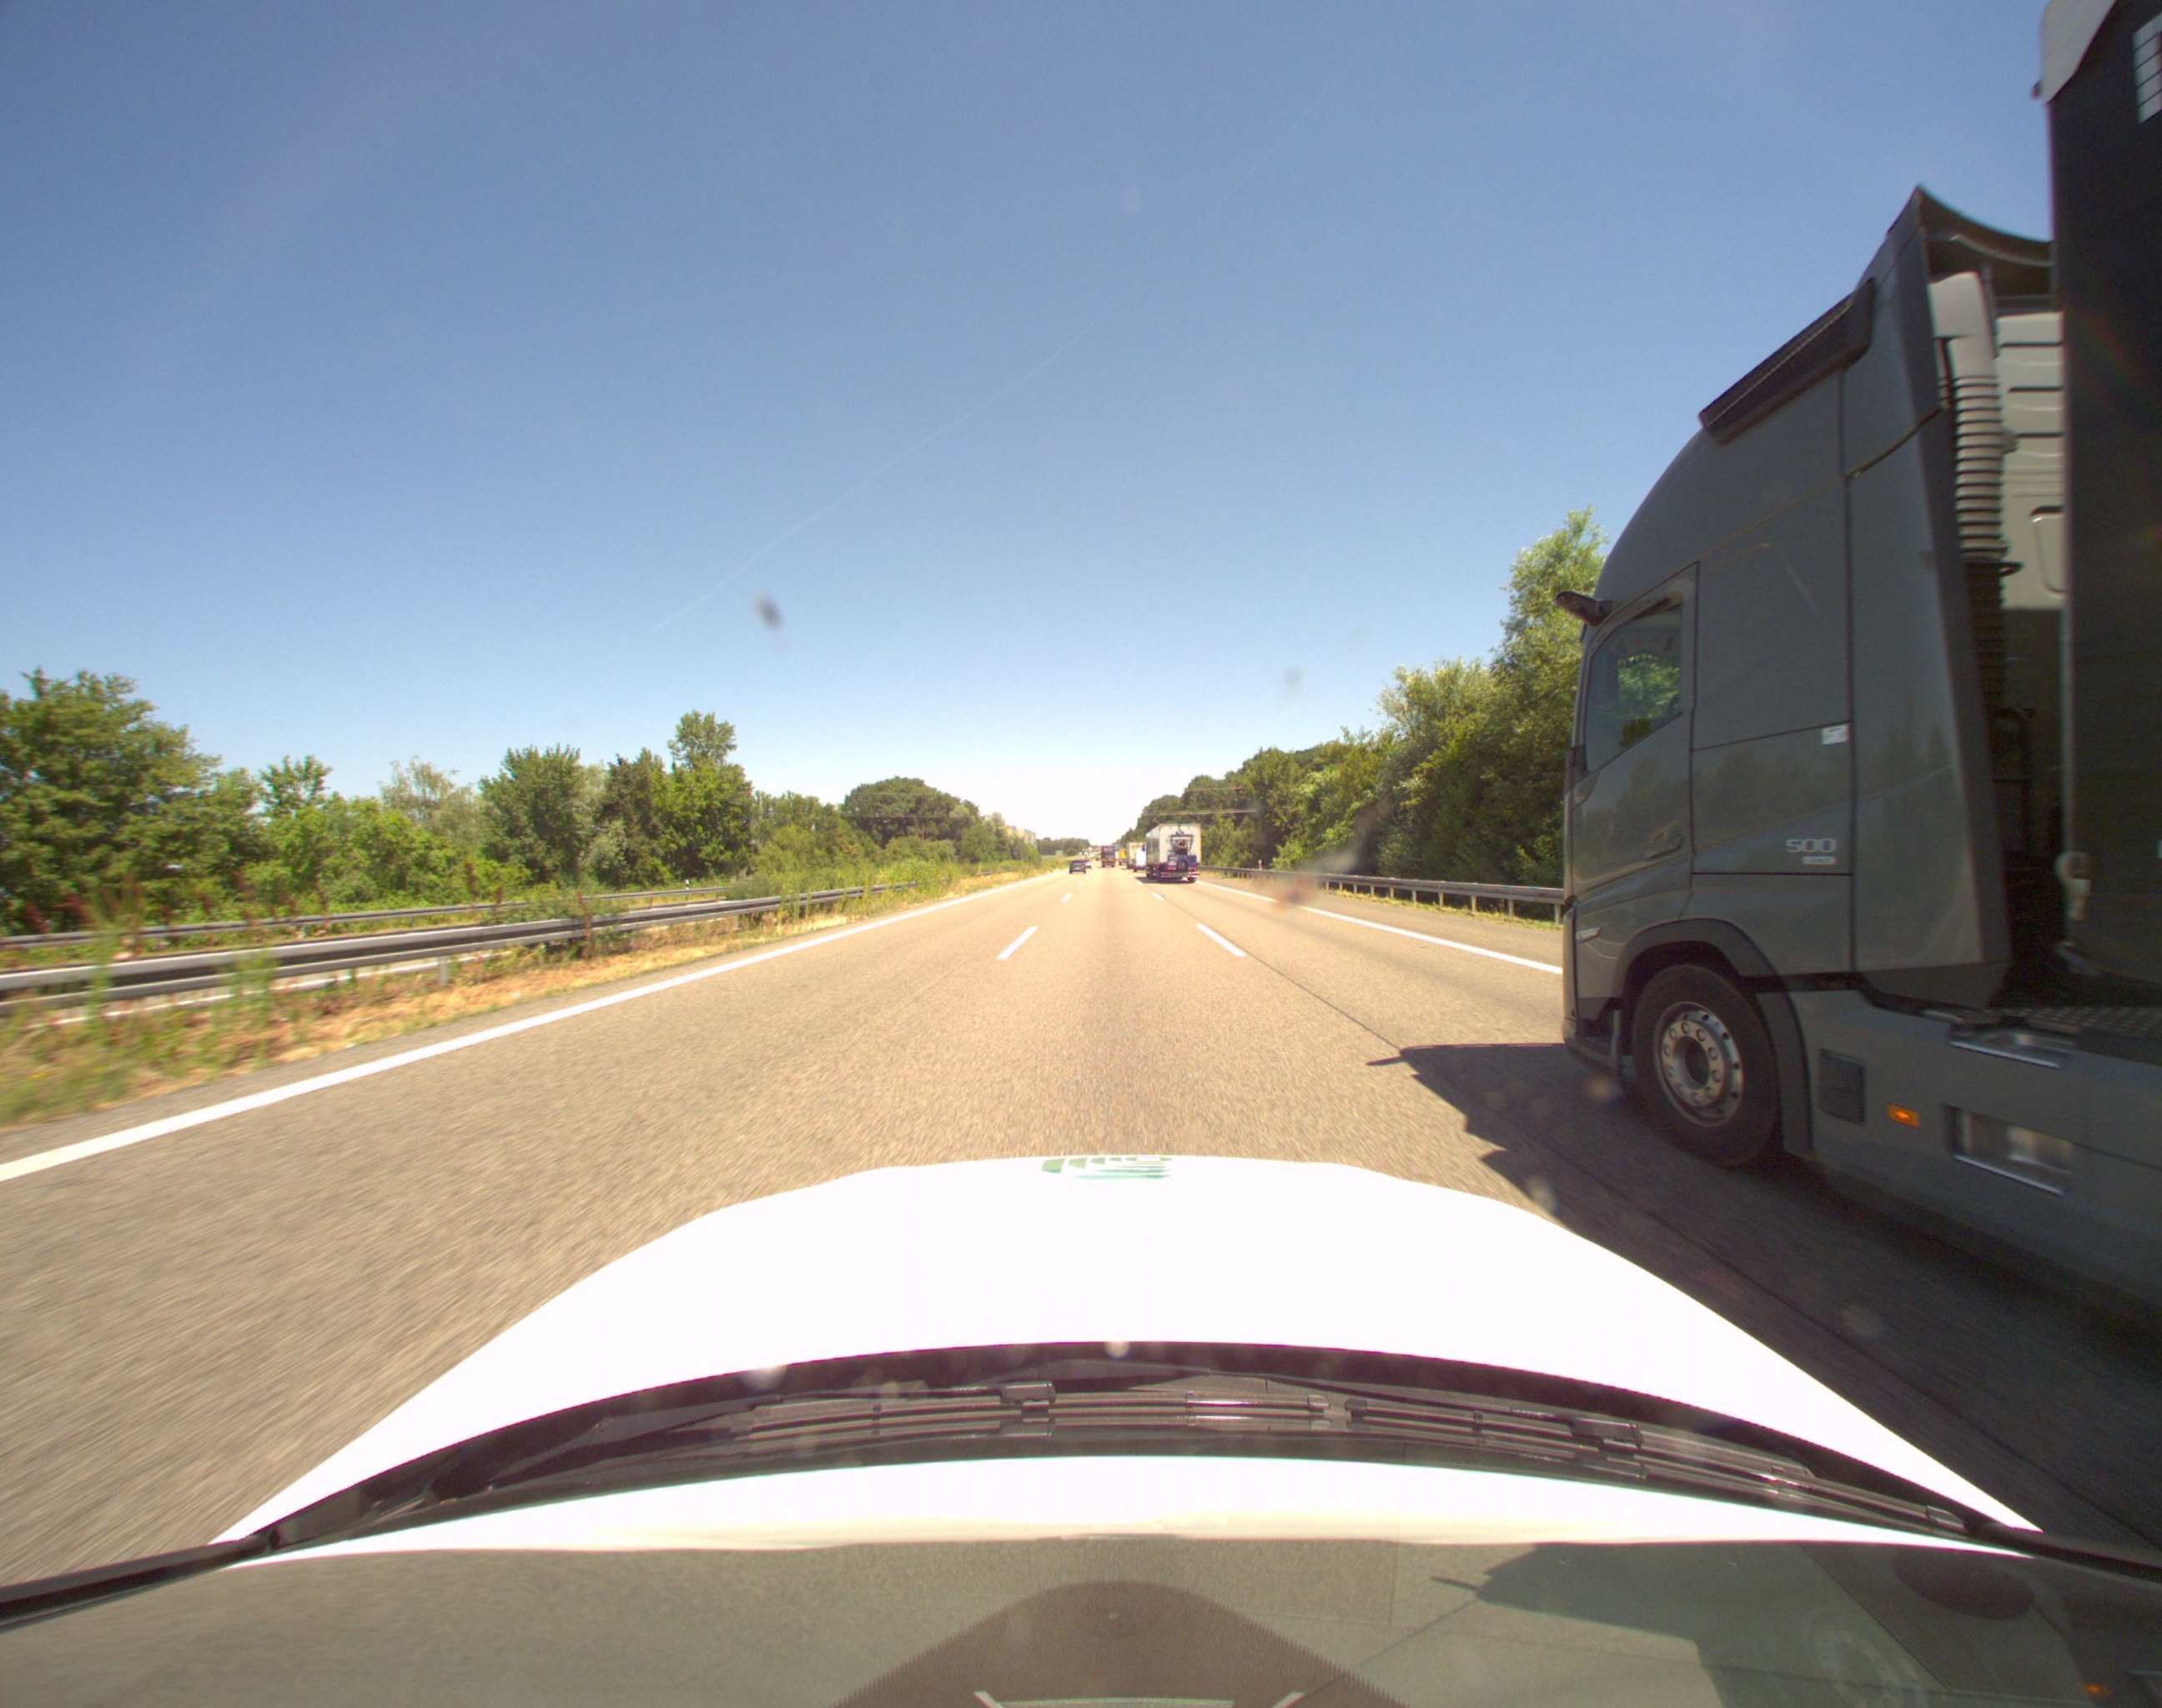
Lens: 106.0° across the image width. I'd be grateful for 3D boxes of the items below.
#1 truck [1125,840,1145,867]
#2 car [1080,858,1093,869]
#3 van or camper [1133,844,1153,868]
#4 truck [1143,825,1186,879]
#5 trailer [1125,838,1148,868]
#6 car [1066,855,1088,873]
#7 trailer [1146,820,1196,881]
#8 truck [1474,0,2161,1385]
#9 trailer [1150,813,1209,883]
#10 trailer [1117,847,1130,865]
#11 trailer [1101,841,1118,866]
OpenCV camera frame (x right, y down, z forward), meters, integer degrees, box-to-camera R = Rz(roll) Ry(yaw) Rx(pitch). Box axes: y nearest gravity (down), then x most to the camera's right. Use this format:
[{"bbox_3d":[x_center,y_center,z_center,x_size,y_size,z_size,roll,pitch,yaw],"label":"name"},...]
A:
[{"bbox_3d":[8.617,-0.043,130.734,2.991,4.125,5.254,-1,-1,2],"label":"truck"},{"bbox_3d":[0.900,1.458,129.480,1.986,1.728,4.131,-1,0,1],"label":"car"},{"bbox_3d":[7.174,0.248,94.487,2.015,2.637,6.489,-1,0,1],"label":"van or camper"},{"bbox_3d":[6.463,-0.131,63.822,2.878,4.030,6.873,0,-1,2],"label":"truck"},{"bbox_3d":[8.393,-0.140,123.873,2.982,4.289,13.423,0,0,2],"label":"trailer"},{"bbox_3d":[-0.364,1.082,89.896,2.208,1.790,5.395,-2,0,2],"label":"car"},{"bbox_3d":[6.339,-0.222,58.263,2.909,4.041,7.319,0,-1,2],"label":"trailer"},{"bbox_3d":[4.147,-0.577,2.813,2.543,3.954,6.516,-1,0,2],"label":"truck"},{"bbox_3d":[6.127,-0.335,51.847,2.934,4.063,8.130,0,-1,2],"label":"trailer"},{"bbox_3d":[9.977,0.434,191.481,2.824,3.953,11.687,-1,0,2],"label":"trailer"},{"bbox_3d":[5.305,-0.029,154.416,3.095,4.507,14.899,-1,0,1],"label":"trailer"}]
